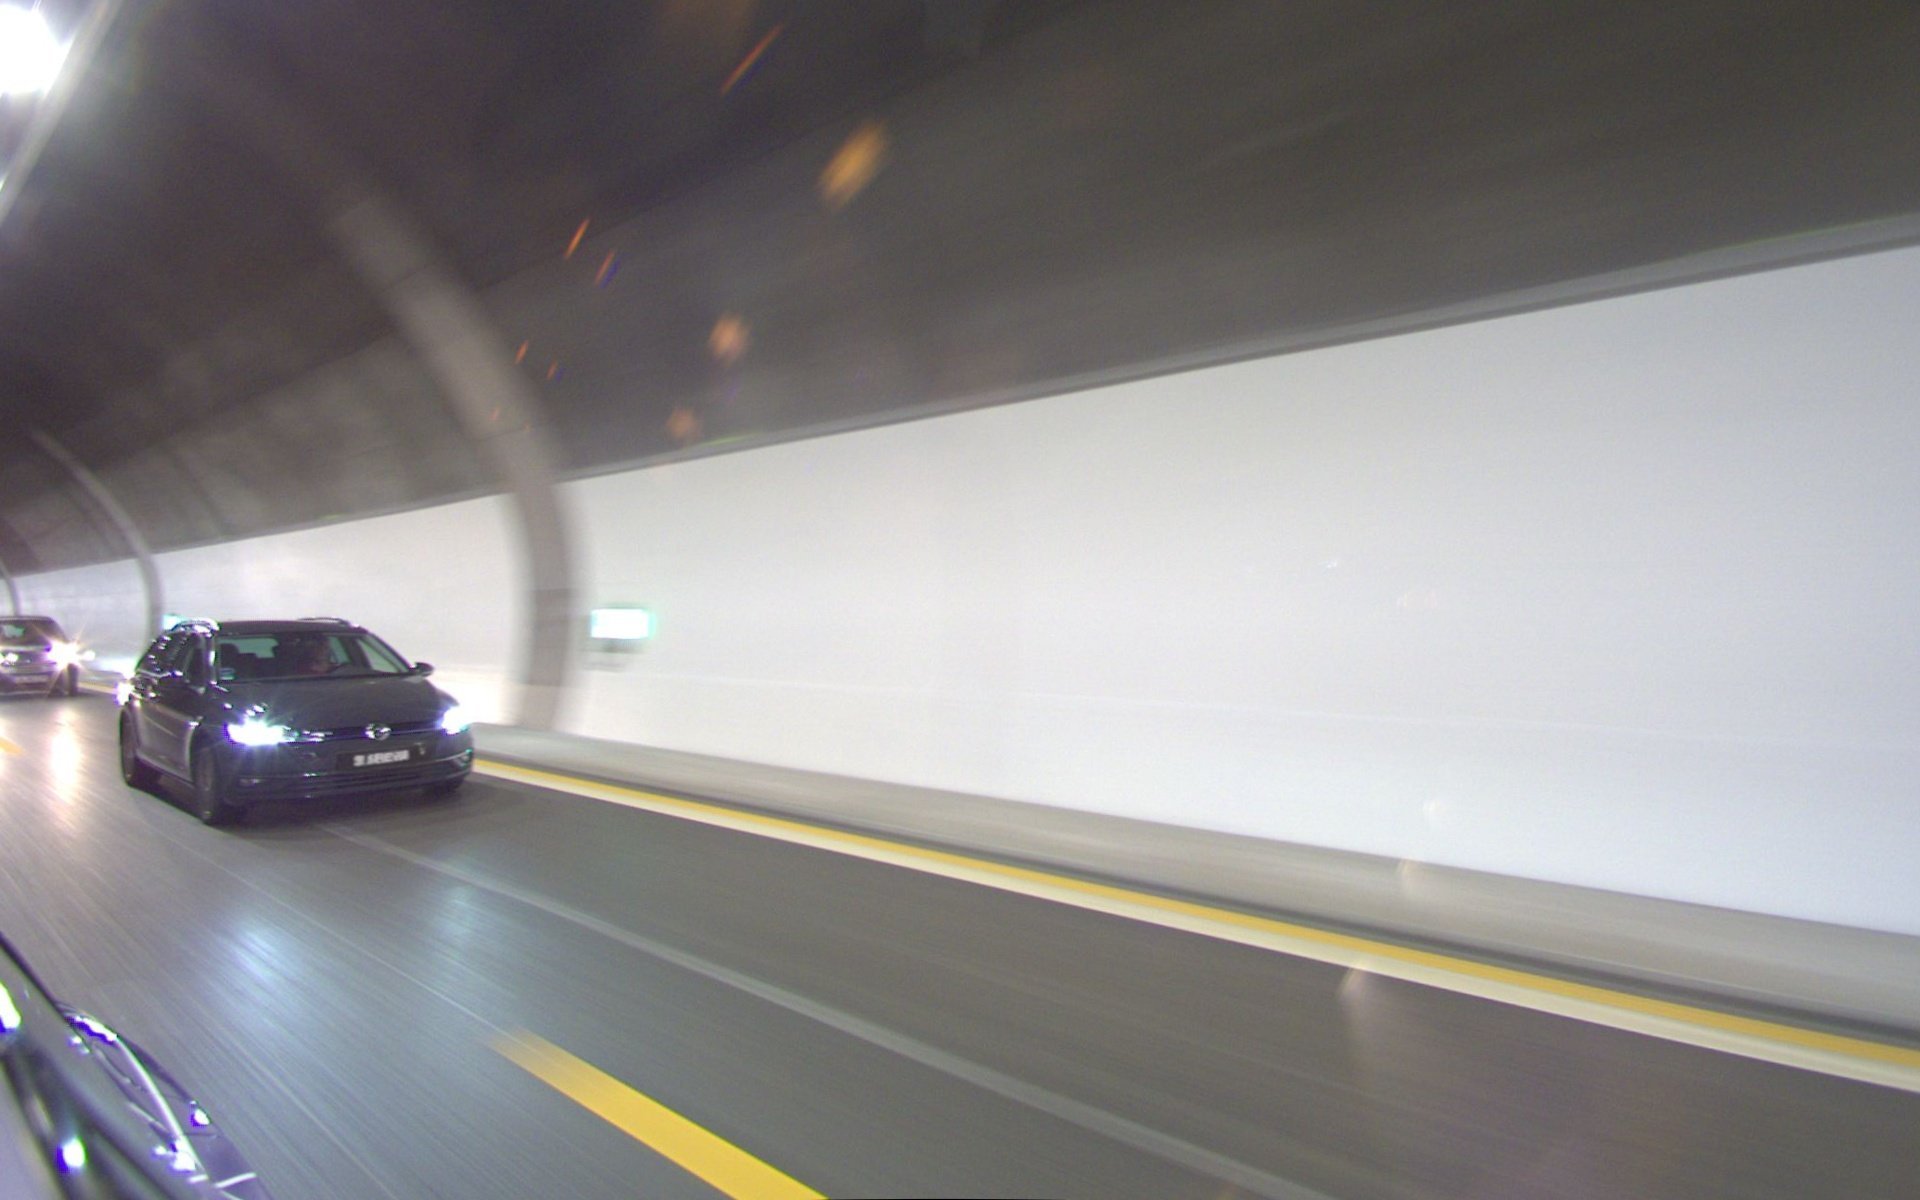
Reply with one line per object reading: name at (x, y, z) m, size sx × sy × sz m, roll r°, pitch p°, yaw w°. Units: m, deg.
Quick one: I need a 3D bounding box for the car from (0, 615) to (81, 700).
car at (-18.067, 1.059, 19.326) m, size 2.649 × 1.528 × 1.512 m, roll -1°, pitch -1°, yaw 39°

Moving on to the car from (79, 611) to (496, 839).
car at (-6.017, 0.856, 8.767) m, size 4.879 × 1.449 × 1.760 m, roll -1°, pitch -1°, yaw 41°
